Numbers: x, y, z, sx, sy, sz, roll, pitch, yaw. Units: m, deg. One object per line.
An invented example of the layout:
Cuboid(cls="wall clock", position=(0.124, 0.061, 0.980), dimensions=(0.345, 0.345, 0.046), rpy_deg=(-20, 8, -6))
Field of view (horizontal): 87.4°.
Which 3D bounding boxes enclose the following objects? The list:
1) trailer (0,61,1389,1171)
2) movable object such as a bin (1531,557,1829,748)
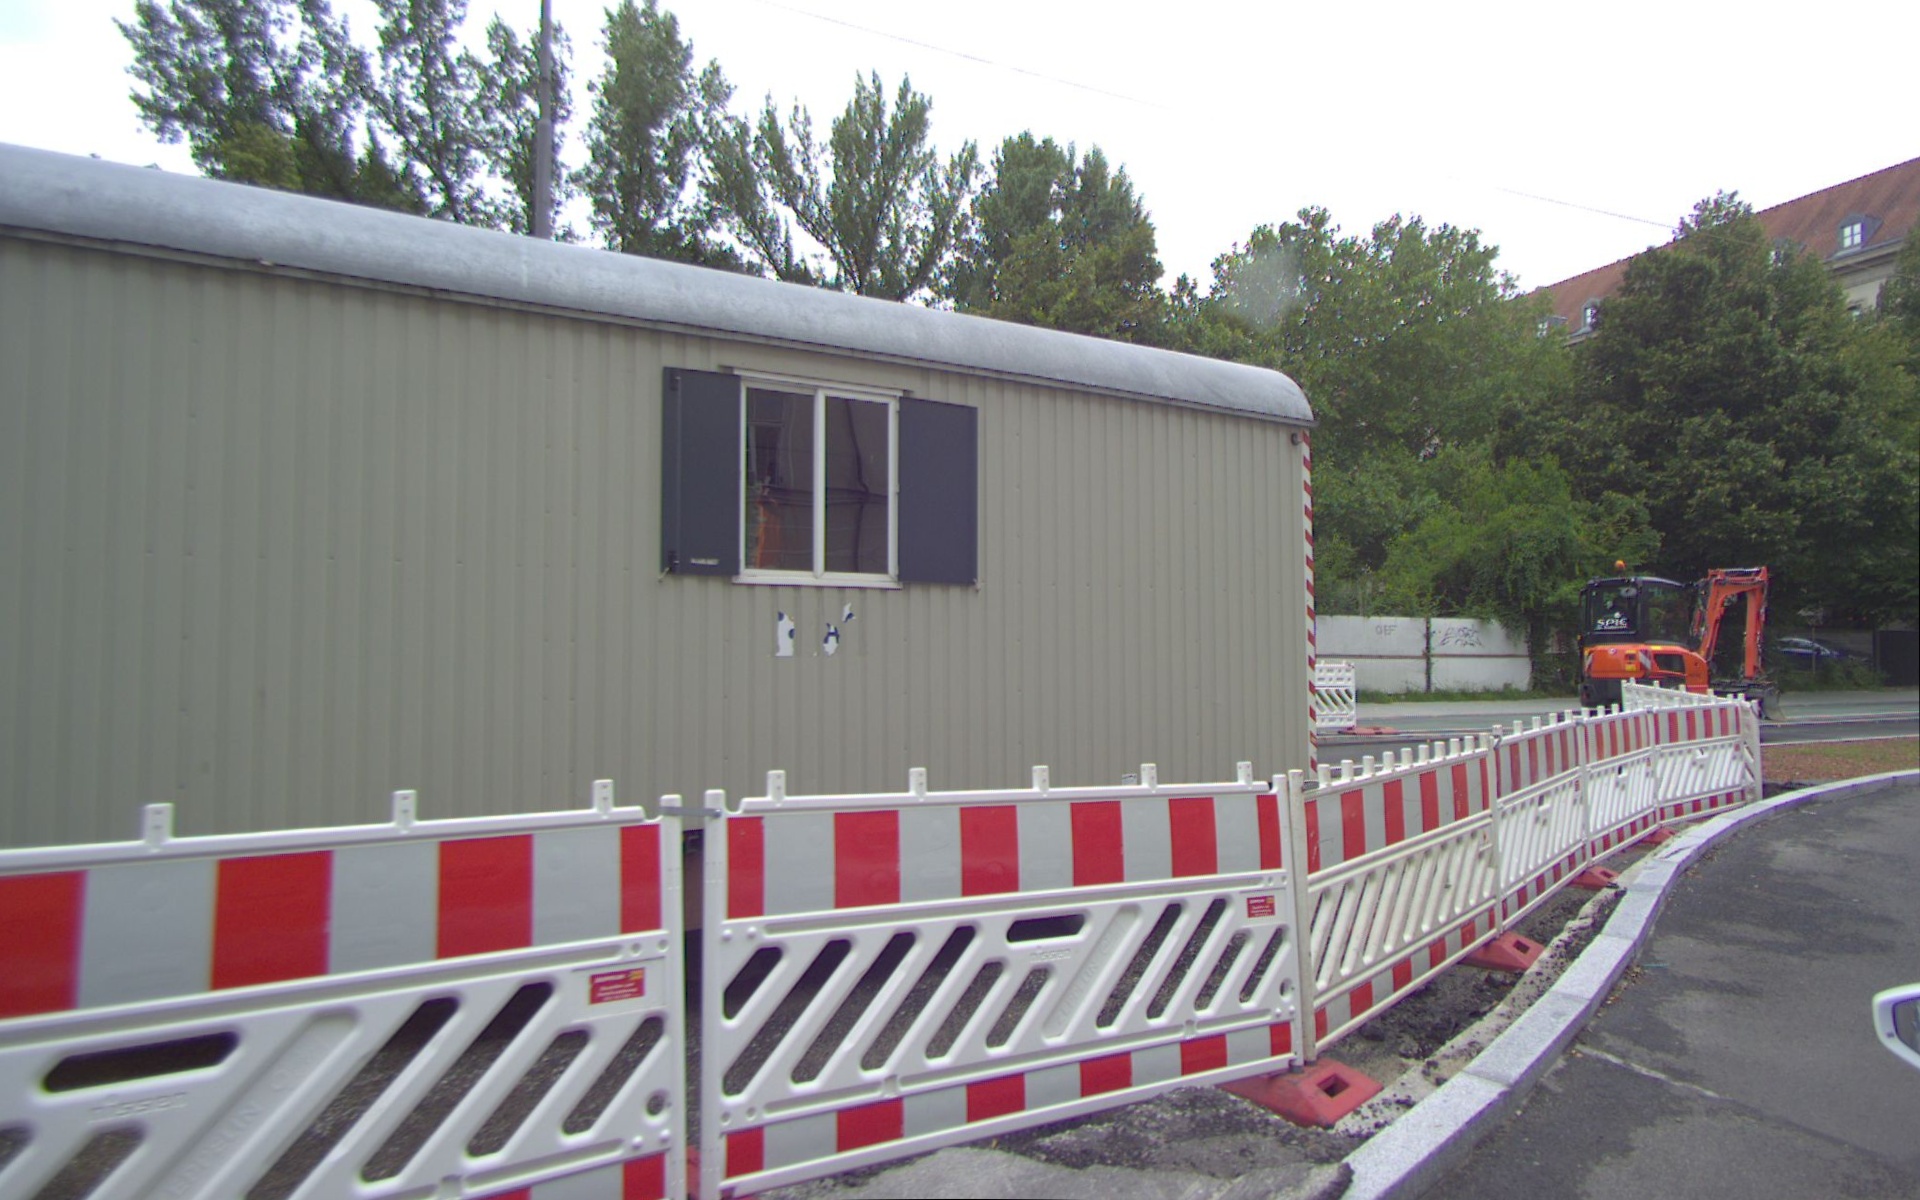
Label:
Cuboid(cls="trailer", position=(-1.341, 0.107, 5.010), dimensions=(7.423, 3.286, 2.219), rpy_deg=(1, -2, -28))
Cuboid(cls="movable object such as a bin", position=(11.514, 0.805, 16.028), dimensions=(4.606, 2.675, 1.986), rpy_deg=(1, -2, -27))
